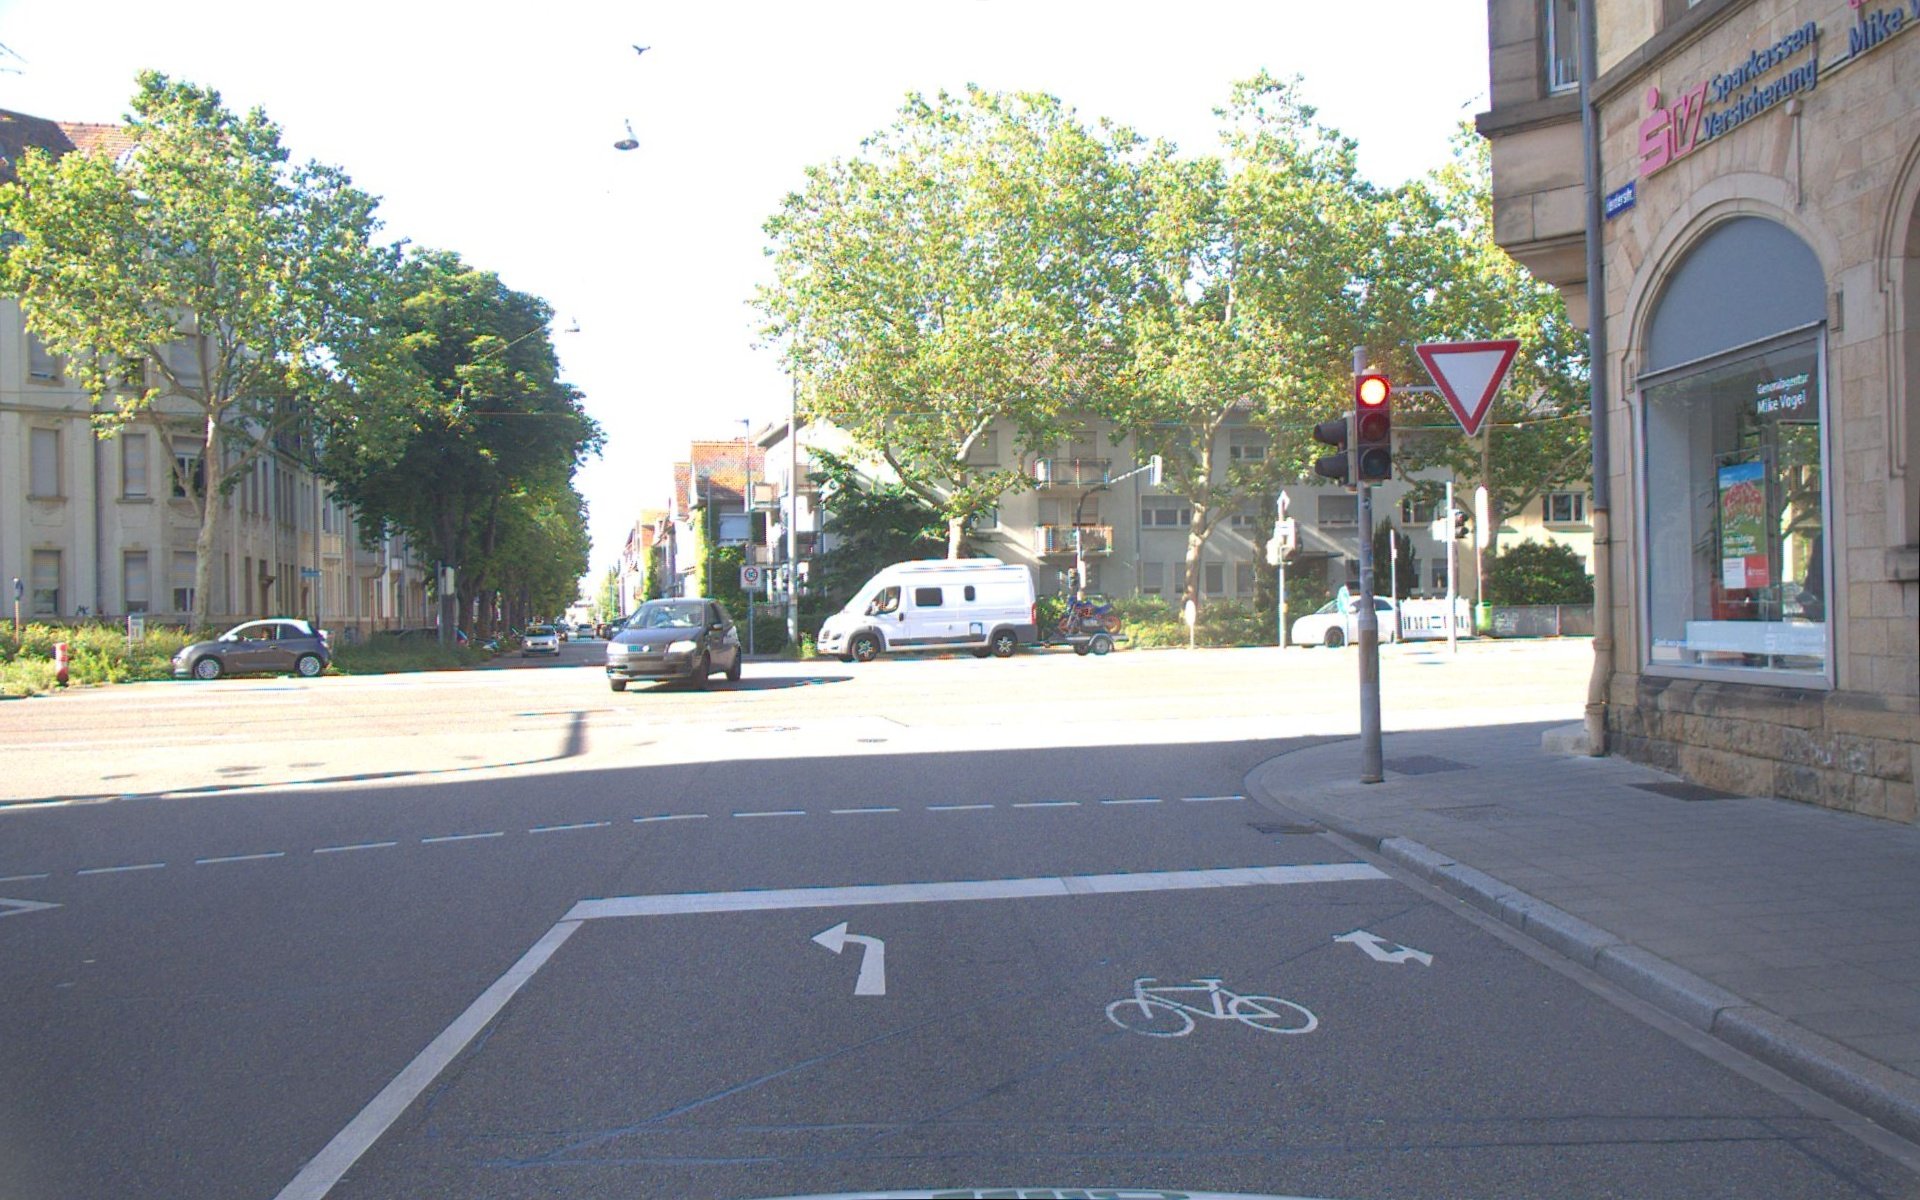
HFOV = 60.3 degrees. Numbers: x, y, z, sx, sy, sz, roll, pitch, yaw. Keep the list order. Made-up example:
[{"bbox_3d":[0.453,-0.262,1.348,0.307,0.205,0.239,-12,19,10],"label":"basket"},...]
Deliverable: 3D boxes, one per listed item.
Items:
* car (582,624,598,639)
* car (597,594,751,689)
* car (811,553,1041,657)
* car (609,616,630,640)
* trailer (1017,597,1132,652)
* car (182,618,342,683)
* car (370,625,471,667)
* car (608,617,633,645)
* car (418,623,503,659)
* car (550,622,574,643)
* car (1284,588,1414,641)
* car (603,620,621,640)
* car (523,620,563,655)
[{"bbox_3d":[-40.520,3.452,181.176,1.669,1.509,3.523,-3,1,-12],"label":"car"},{"bbox_3d":[-4.738,0.651,27.852,1.617,1.483,3.645,-1,0,6],"label":"car"},{"bbox_3d":[-0.919,0.109,45.342,6.017,2.683,1.885,-1,0,-20],"label":"car"},{"bbox_3d":[-30.040,2.443,145.938,1.742,1.952,3.523,-3,0,-12],"label":"car"},{"bbox_3d":[3.239,0.671,47.009,2.904,1.483,1.505,-1,0,-20],"label":"trailer"},{"bbox_3d":[-17.358,1.237,41.292,3.578,1.483,1.647,-1,0,-20],"label":"car"},{"bbox_3d":[-20.445,1.736,62.809,3.572,1.483,1.650,-1,0,-16],"label":"car"},{"bbox_3d":[-26.228,2.378,127.712,1.742,1.952,3.523,-3,0,-12],"label":"car"},{"bbox_3d":[-22.287,1.823,73.958,3.572,1.483,1.650,-1,0,-16],"label":"car"},{"bbox_3d":[-32.049,2.583,133.275,1.669,1.509,3.523,-3,1,-12],"label":"car"},{"bbox_3d":[11.651,0.425,49.499,3.579,1.483,1.494,-1,0,-21],"label":"car"},{"bbox_3d":[-37.929,3.246,180.188,1.742,1.952,3.523,-3,0,-12],"label":"car"},{"bbox_3d":[-20.050,1.789,79.535,1.669,1.509,3.523,-3,1,-12],"label":"car"}]
